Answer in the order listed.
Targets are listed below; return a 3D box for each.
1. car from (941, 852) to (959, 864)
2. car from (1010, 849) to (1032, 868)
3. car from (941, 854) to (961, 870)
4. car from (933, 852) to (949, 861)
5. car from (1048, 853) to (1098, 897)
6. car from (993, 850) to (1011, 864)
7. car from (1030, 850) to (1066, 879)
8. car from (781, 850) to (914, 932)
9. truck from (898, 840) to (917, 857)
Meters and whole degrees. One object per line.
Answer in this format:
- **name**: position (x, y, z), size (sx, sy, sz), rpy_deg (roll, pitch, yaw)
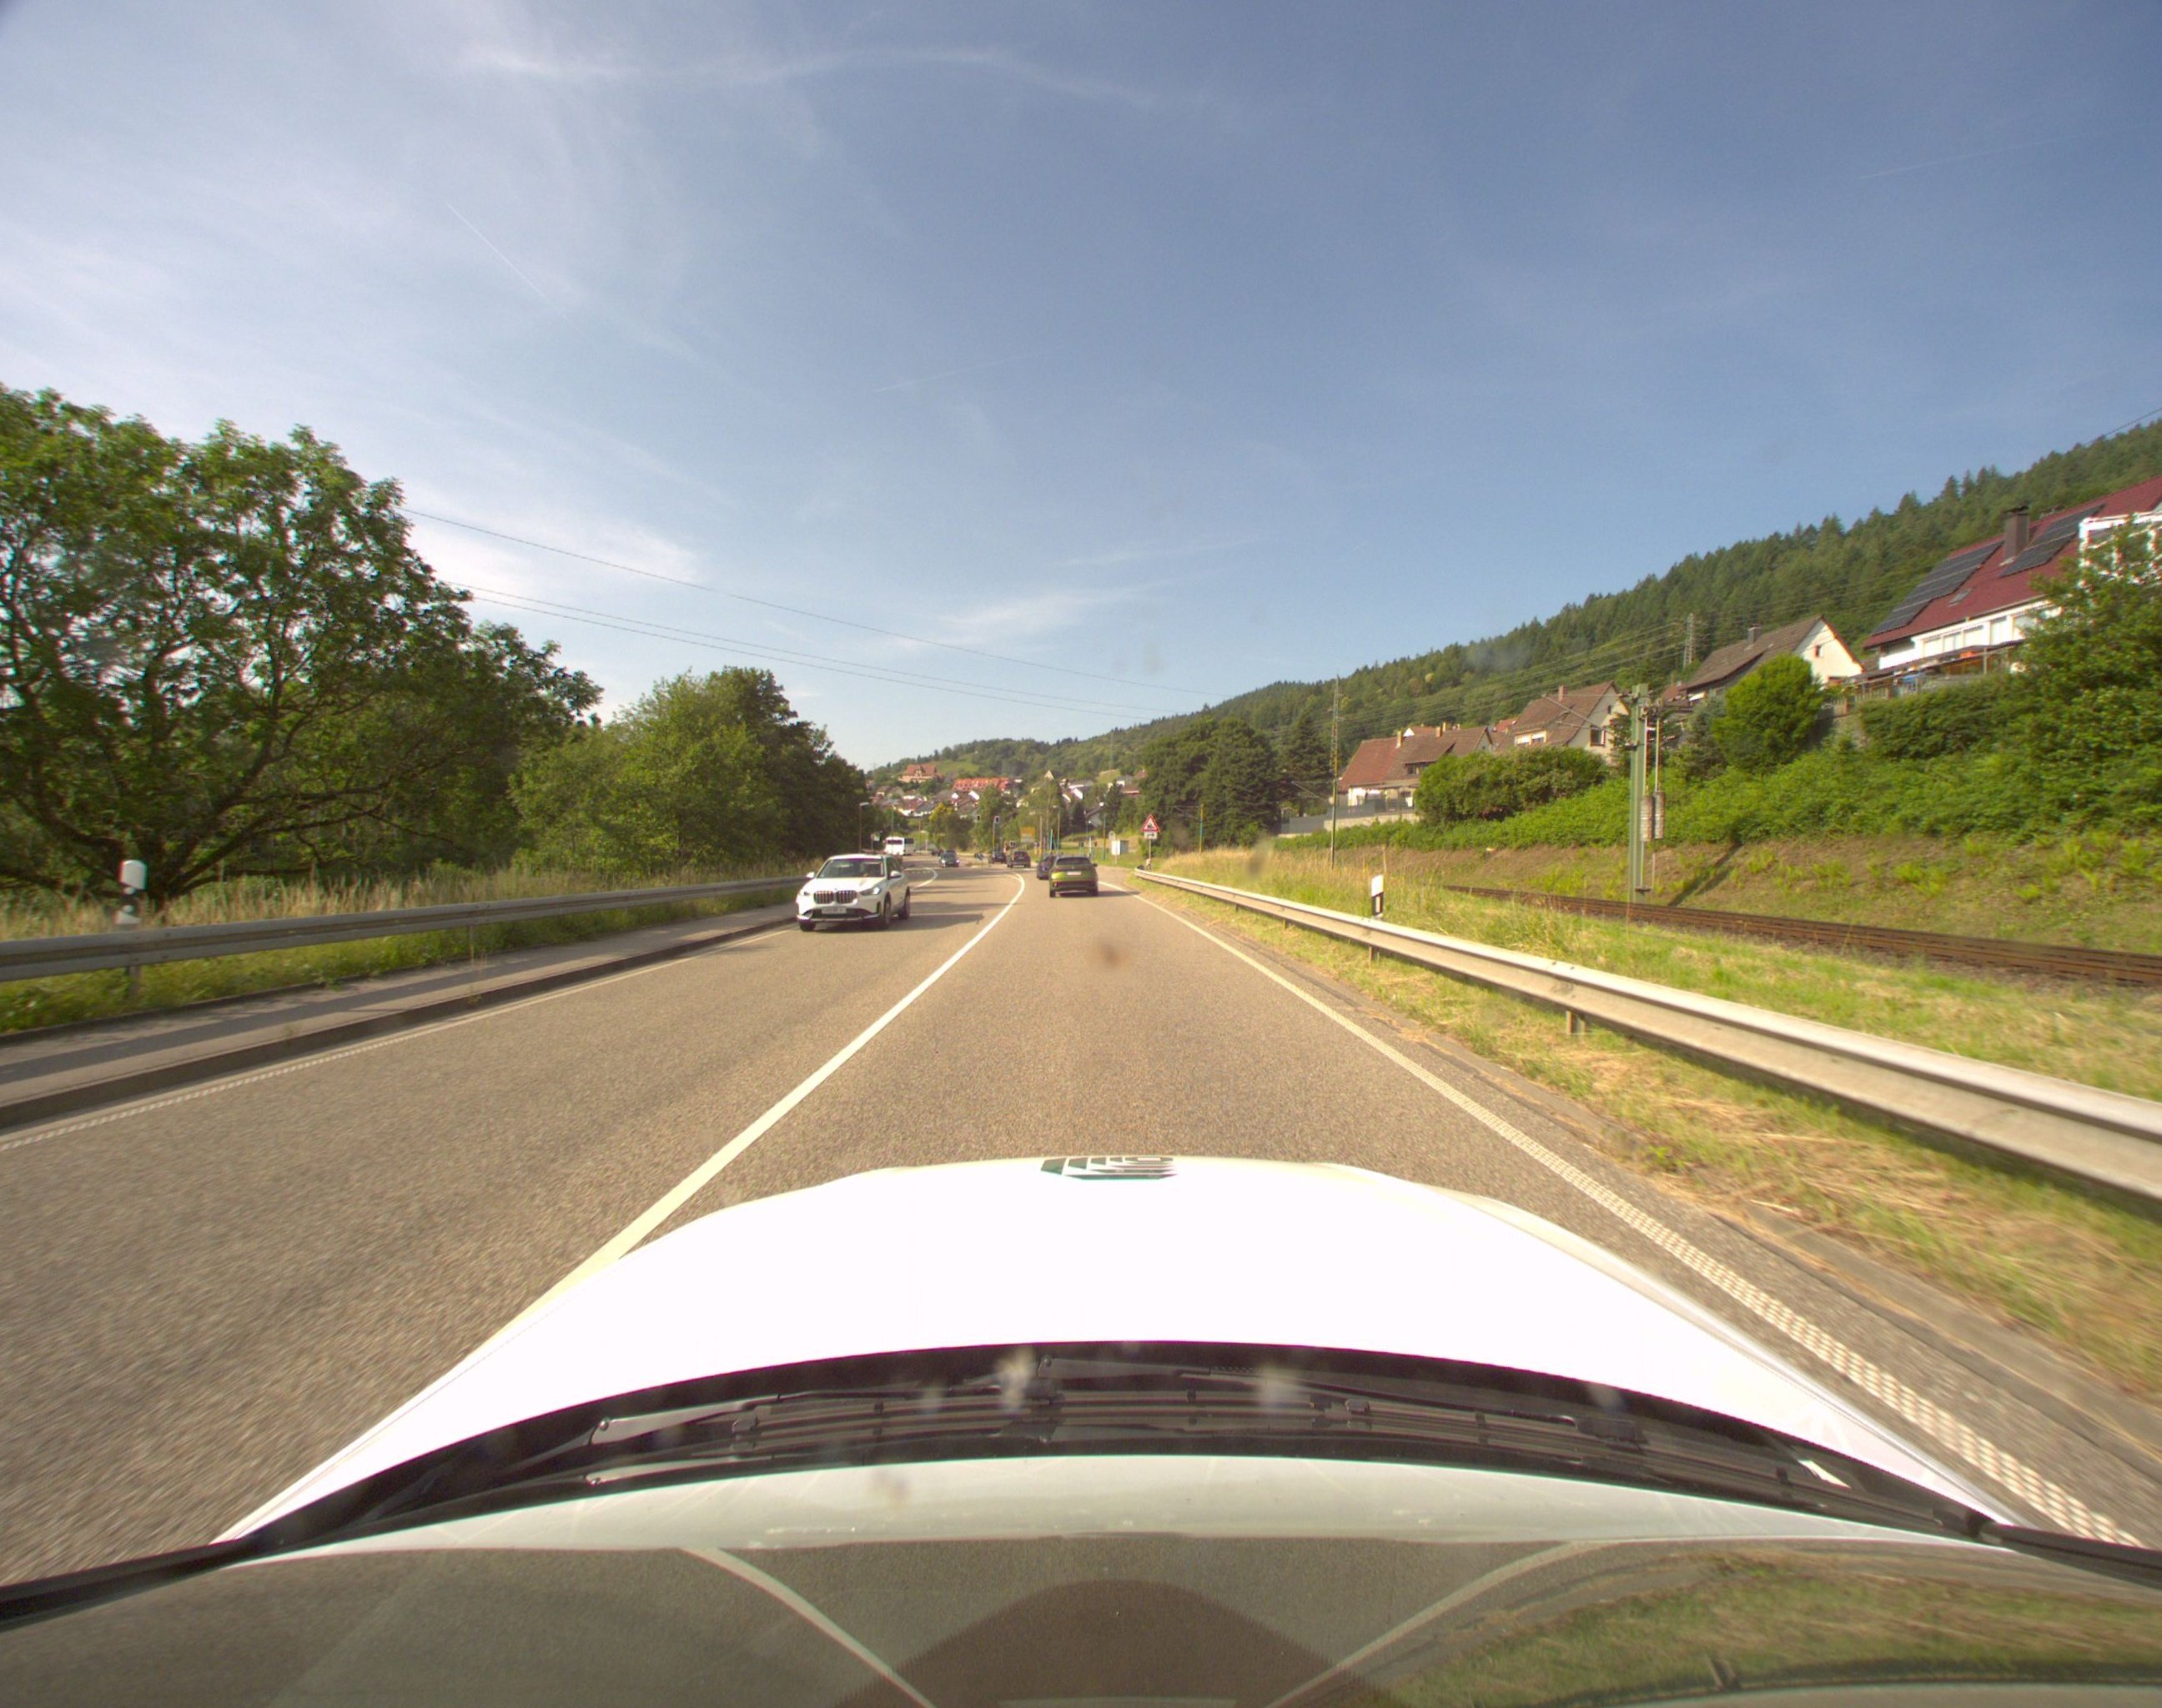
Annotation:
- **car**: position (-21.497, 0.660, 133.324), size (2.071, 1.811, 3.971), rpy_deg (-2, 0, -22)
- **car**: position (-5.649, 0.378, 76.206), size (1.879, 1.686, 3.989), rpy_deg (-1, 0, -8)
- **car**: position (-13.191, 0.817, 82.527), size (1.890, 1.488, 3.988), rpy_deg (-2, 0, -9)
- **car**: position (-26.903, 0.555, 156.820), size (2.004, 1.745, 3.966), rpy_deg (0, 0, -25)
- **car**: position (-0.291, 0.718, 29.946), size (1.709, 1.455, 3.999), rpy_deg (-1, 0, -1)
- **car**: position (-9.249, 0.301, 95.578), size (1.848, 1.527, 3.651), rpy_deg (-1, 0, -9)
- **car**: position (-1.940, 0.559, 46.483), size (1.666, 1.559, 3.989), rpy_deg (-1, 0, -8)
- **car**: position (-5.129, 0.739, 18.497), size (1.989, 1.629, 3.996), rpy_deg (-1, 0, -2)
- **truck**: position (-34.444, -1.066, 161.645), size (2.722, 3.083, 6.065), rpy_deg (-2, 1, -21)
